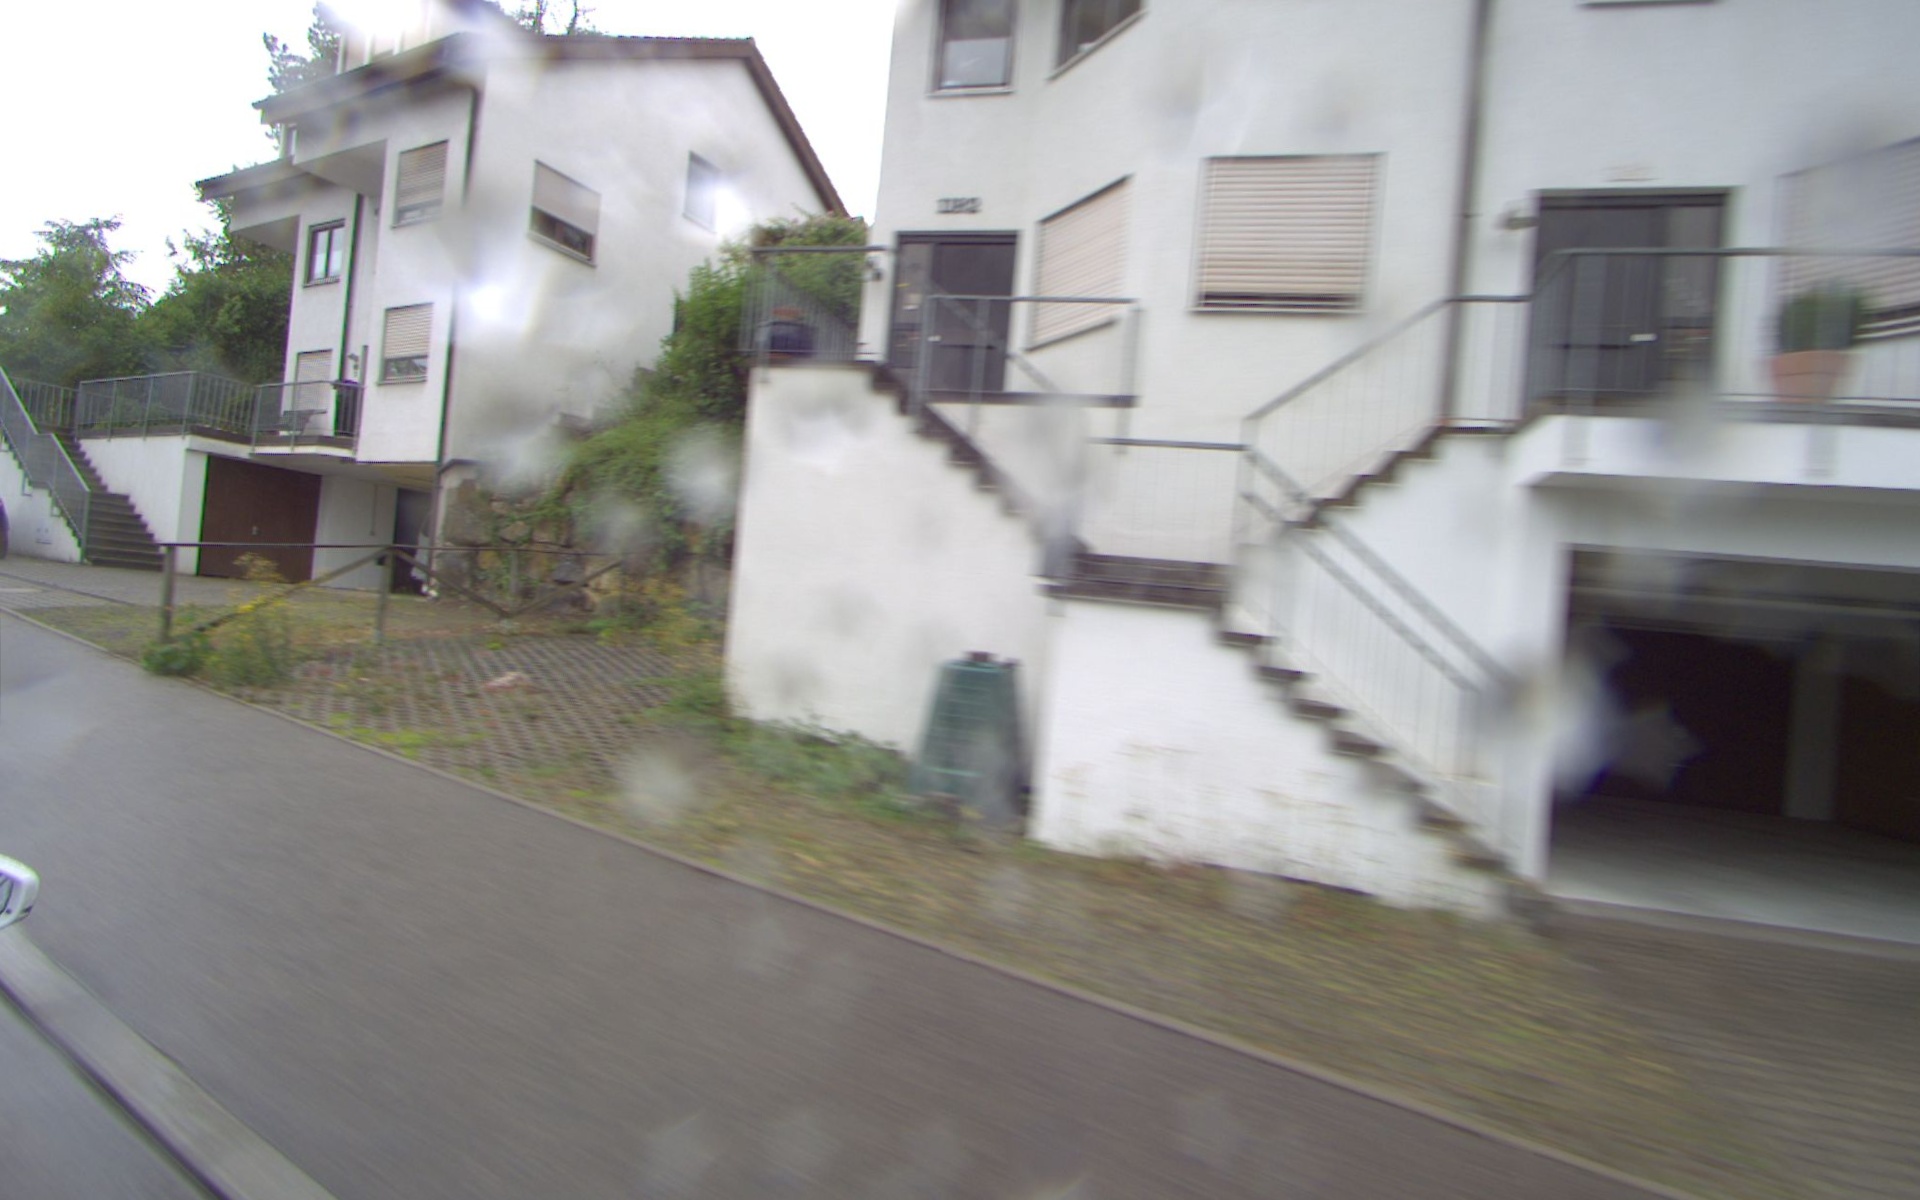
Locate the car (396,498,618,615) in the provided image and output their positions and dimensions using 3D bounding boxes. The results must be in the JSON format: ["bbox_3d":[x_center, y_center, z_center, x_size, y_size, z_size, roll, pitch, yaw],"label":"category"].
[{"bbox_3d":[-9.974,-0.893,22.457,1.896,1.976,3.995,7,-1,30],"label":"car"}]

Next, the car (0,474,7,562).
[{"bbox_3d":[-18.264,-1.584,17.649,3.961,1.473,1.702,6,2,39],"label":"car"}]
